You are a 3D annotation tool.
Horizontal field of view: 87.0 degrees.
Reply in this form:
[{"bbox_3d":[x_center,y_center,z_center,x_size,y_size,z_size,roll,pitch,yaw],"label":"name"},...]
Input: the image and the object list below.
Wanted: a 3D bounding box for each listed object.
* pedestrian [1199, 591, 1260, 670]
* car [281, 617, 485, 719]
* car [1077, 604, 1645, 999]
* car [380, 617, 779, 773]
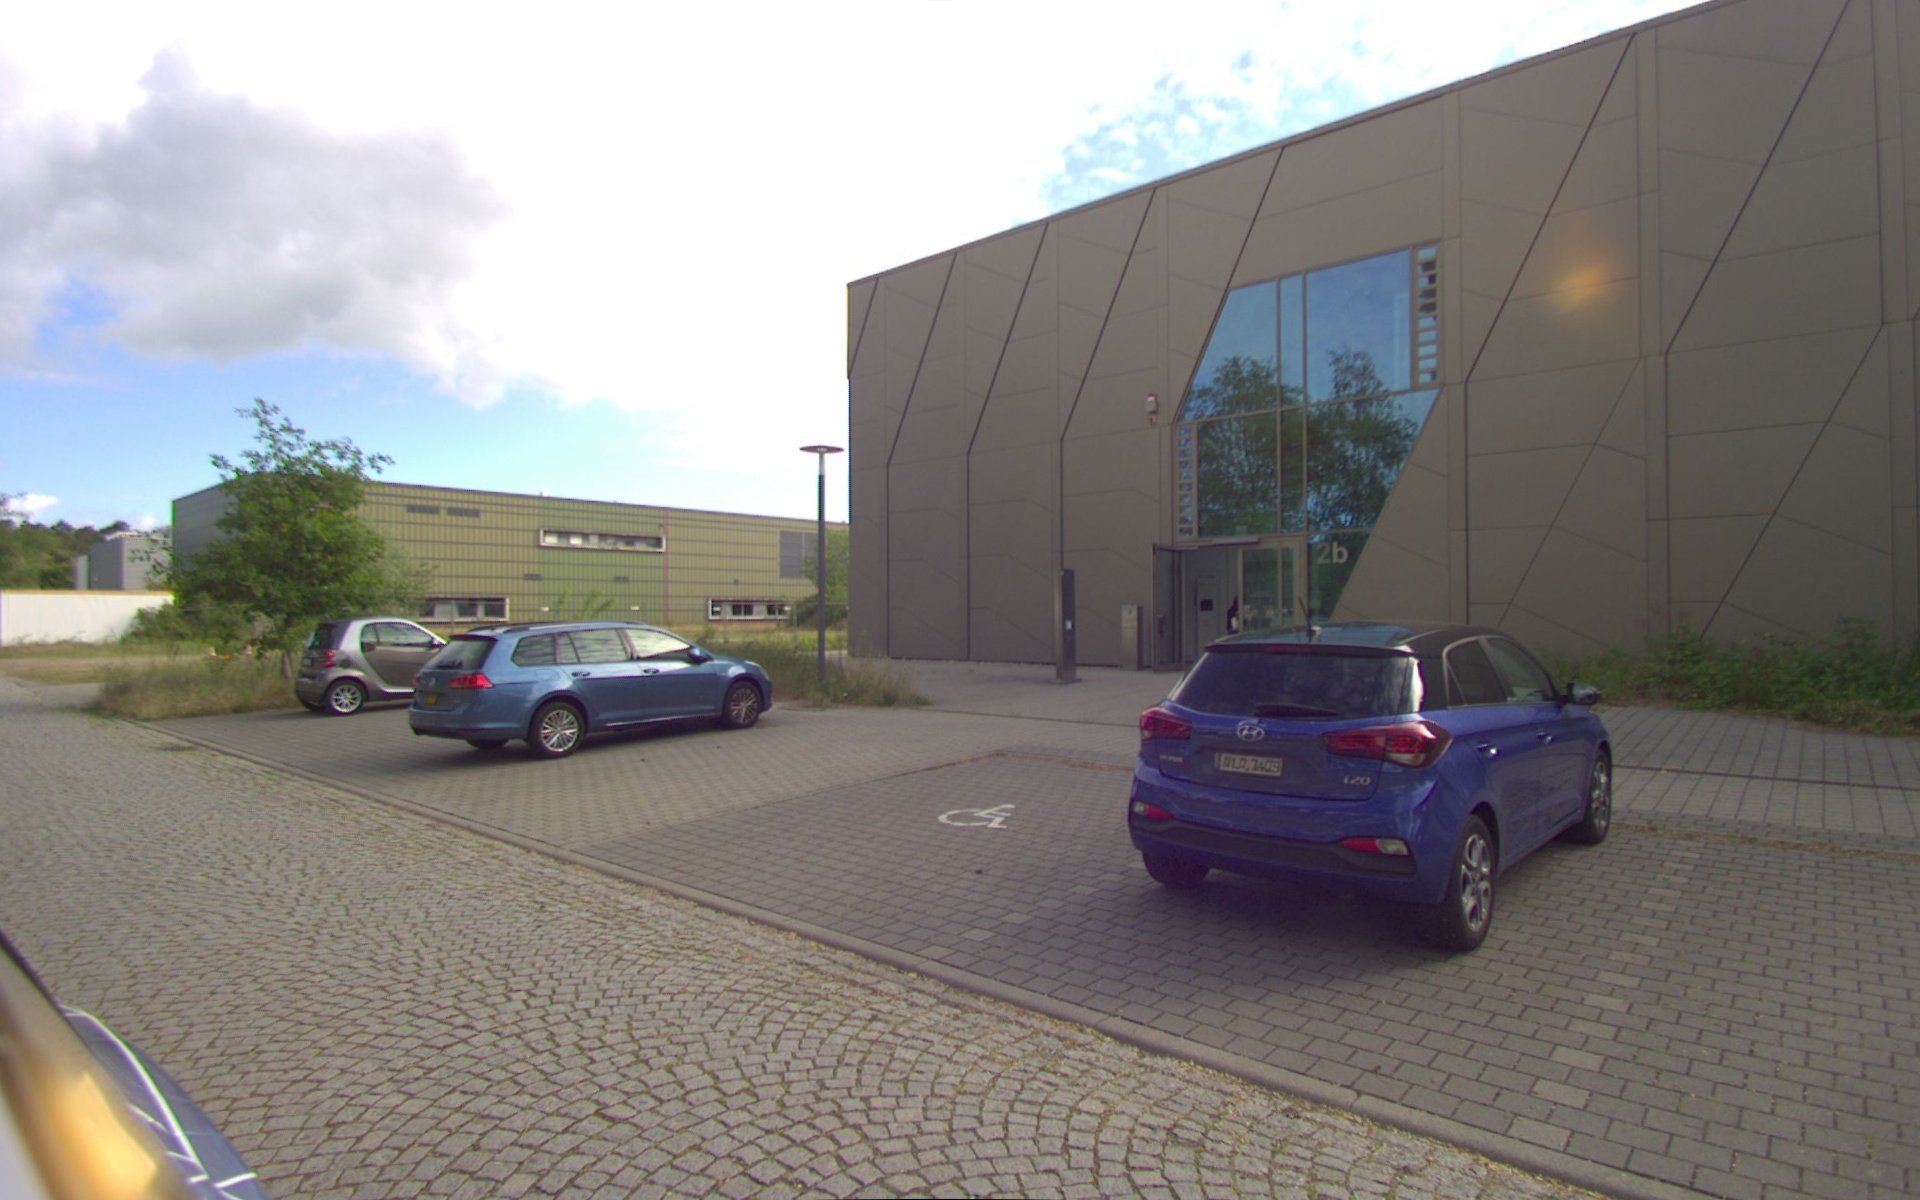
[{"bbox_3d":[5.285,0.593,19.826,0.817,1.506,0.974,-1,-2,38],"label":"pedestrian"},{"bbox_3d":[-9.820,1.088,17.307,1.609,1.522,2.627,-2,0,40],"label":"car"},{"bbox_3d":[2.573,0.820,6.002,1.852,1.489,3.724,-2,0,44],"label":"car"},{"bbox_3d":[-4.418,0.997,12.351,1.771,1.439,4.265,-2,0,38],"label":"car"}]
